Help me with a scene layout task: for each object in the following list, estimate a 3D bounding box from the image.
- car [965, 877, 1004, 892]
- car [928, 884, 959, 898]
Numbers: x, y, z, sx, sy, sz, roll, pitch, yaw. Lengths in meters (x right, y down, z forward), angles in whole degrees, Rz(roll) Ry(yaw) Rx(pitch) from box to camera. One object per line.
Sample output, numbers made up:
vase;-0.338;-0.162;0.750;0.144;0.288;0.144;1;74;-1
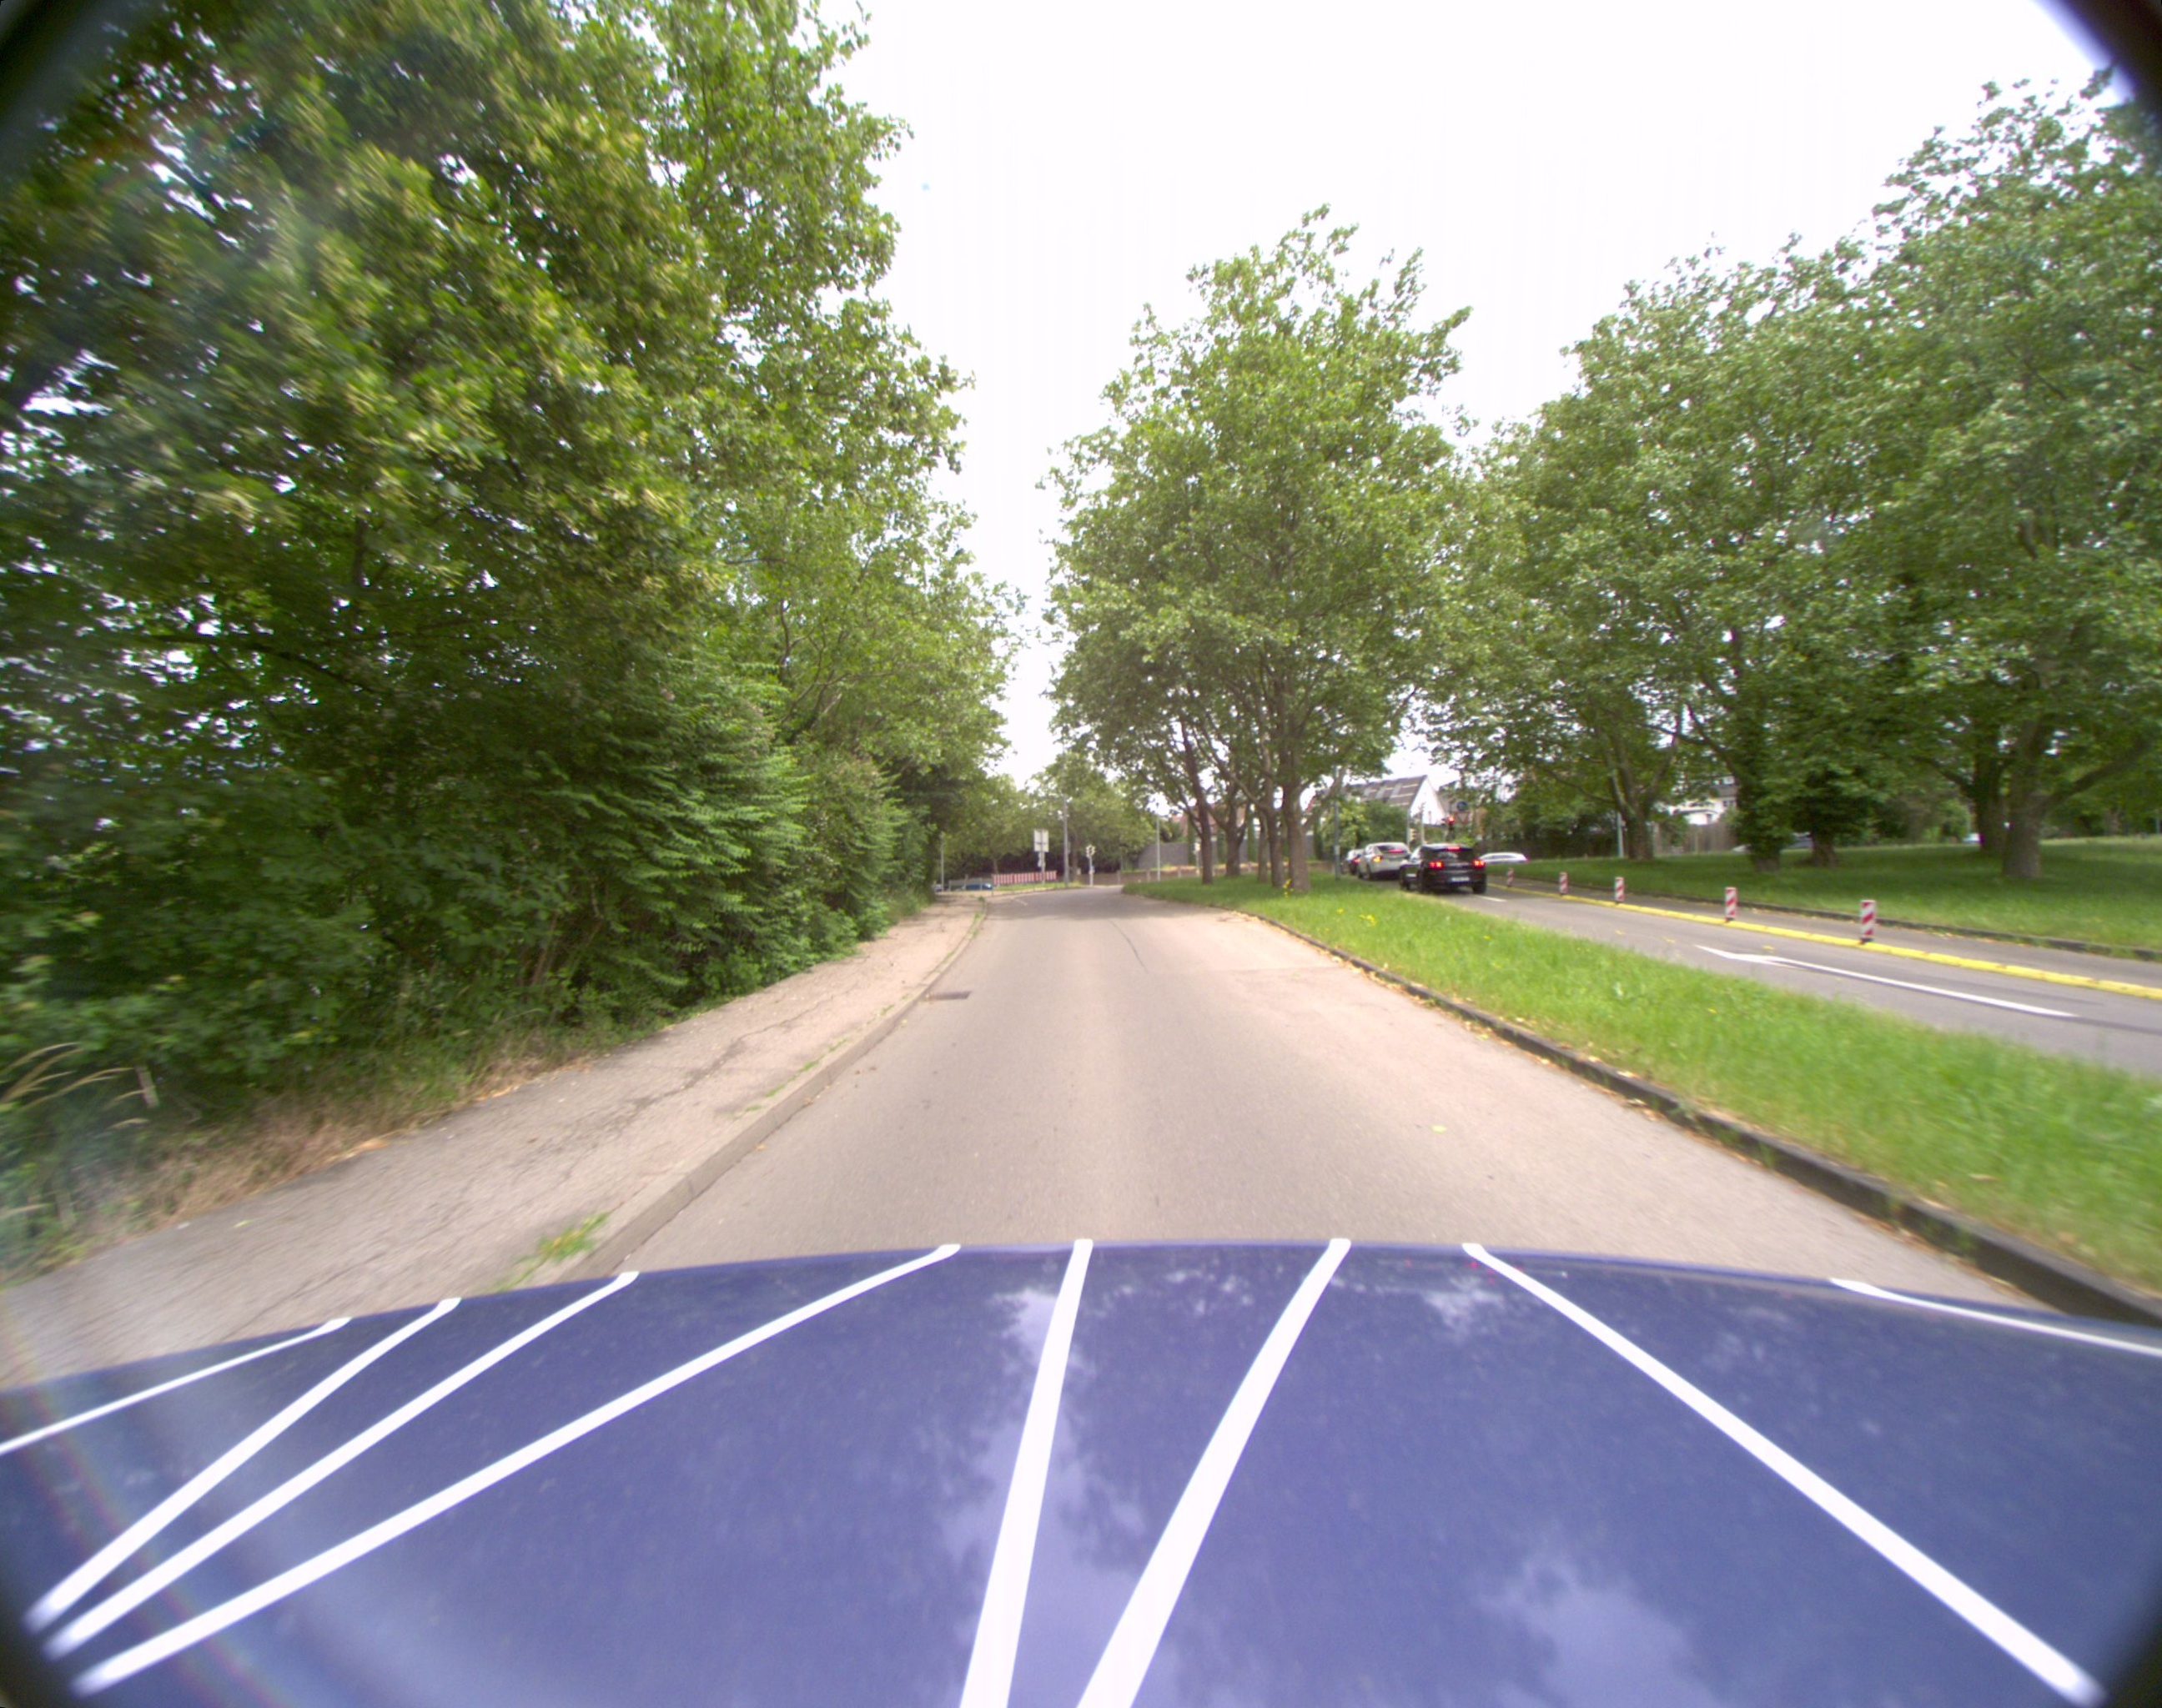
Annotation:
car;-10.043;3.165;78.908;4.137;1.419;1.802;-5;-6;41
car;-18.158;4.889;100.138;4.028;1.593;1.801;-4;-4;41
